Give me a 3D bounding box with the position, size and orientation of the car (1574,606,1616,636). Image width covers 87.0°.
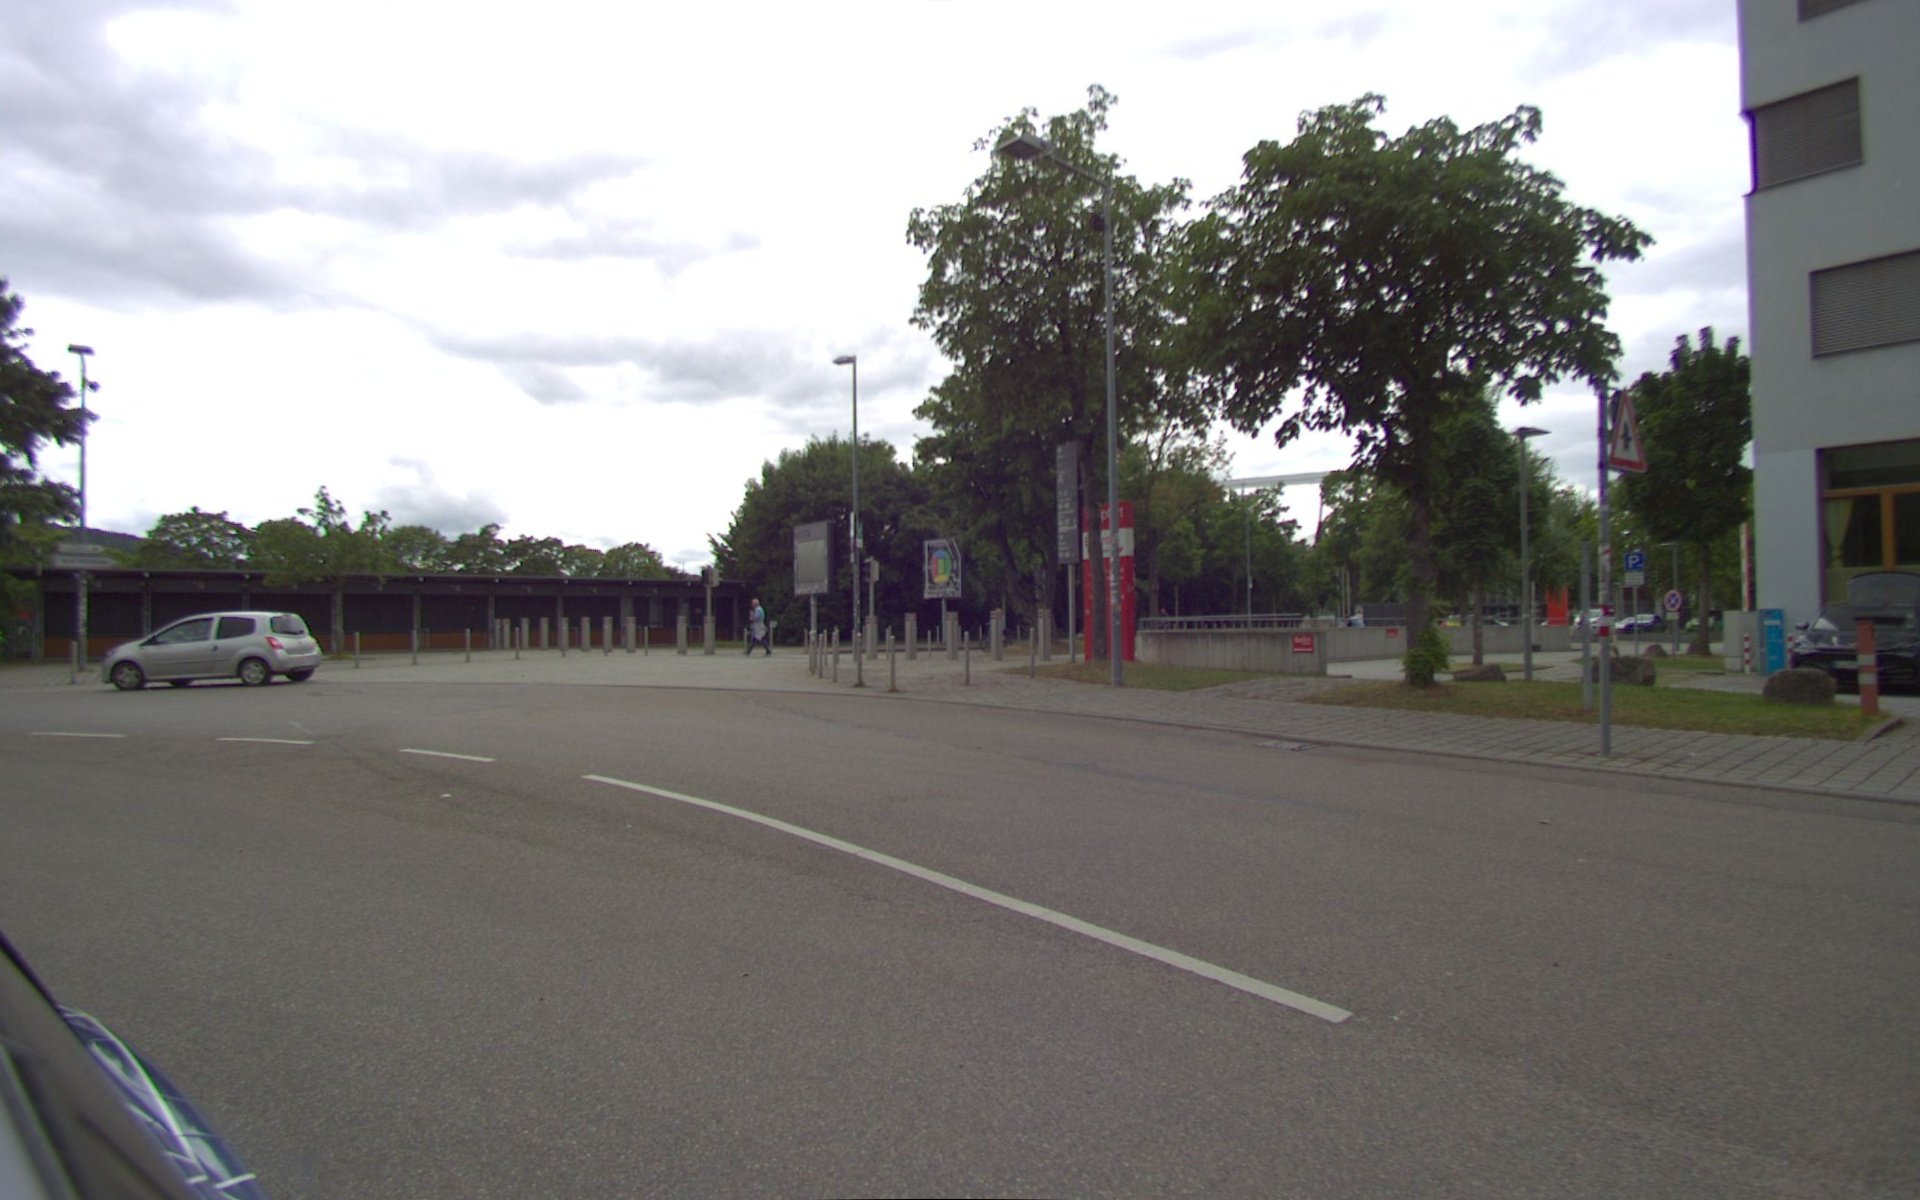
[{"bbox_3d":[53.708,1.754,85.608,3.936,2.494,1.812,-1,0,-39],"label":"car"}]

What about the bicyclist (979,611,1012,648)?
[{"bbox_3d":[1.431,1.180,40.998,0.743,1.441,1.143,-1,0,43],"label":"bicyclist"}]

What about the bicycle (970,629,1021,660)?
[{"bbox_3d":[1.454,1.784,41.010,0.748,1.132,2.226,-1,0,43],"label":"bicycle"}]

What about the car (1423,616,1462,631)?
[{"bbox_3d":[59.411,2.878,124.552,4.001,1.760,1.783,-1,0,44],"label":"car"}]

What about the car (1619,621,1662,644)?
[{"bbox_3d":[55.475,2.611,82.475,3.936,1.760,1.812,-1,0,-39],"label":"car"}]

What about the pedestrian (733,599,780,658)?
[{"bbox_3d":[-6.536,0.894,32.535,1.192,1.847,0.922,0,1,18],"label":"pedestrian"}]

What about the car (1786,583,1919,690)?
[{"bbox_3d":[16.841,0.565,18.390,5.255,1.705,2.101,-1,0,-43],"label":"car"}]

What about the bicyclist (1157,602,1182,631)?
[{"bbox_3d":[11.314,0.869,54.662,0.928,1.507,1.086,0,1,42],"label":"bicyclist"}]

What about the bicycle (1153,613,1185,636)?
[{"bbox_3d":[11.322,1.307,54.665,0.778,1.152,2.023,0,1,42],"label":"bicycle"}]

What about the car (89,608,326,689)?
[{"bbox_3d":[-14.823,0.928,20.078,3.450,1.467,1.609,-1,0,-4],"label":"car"}]
